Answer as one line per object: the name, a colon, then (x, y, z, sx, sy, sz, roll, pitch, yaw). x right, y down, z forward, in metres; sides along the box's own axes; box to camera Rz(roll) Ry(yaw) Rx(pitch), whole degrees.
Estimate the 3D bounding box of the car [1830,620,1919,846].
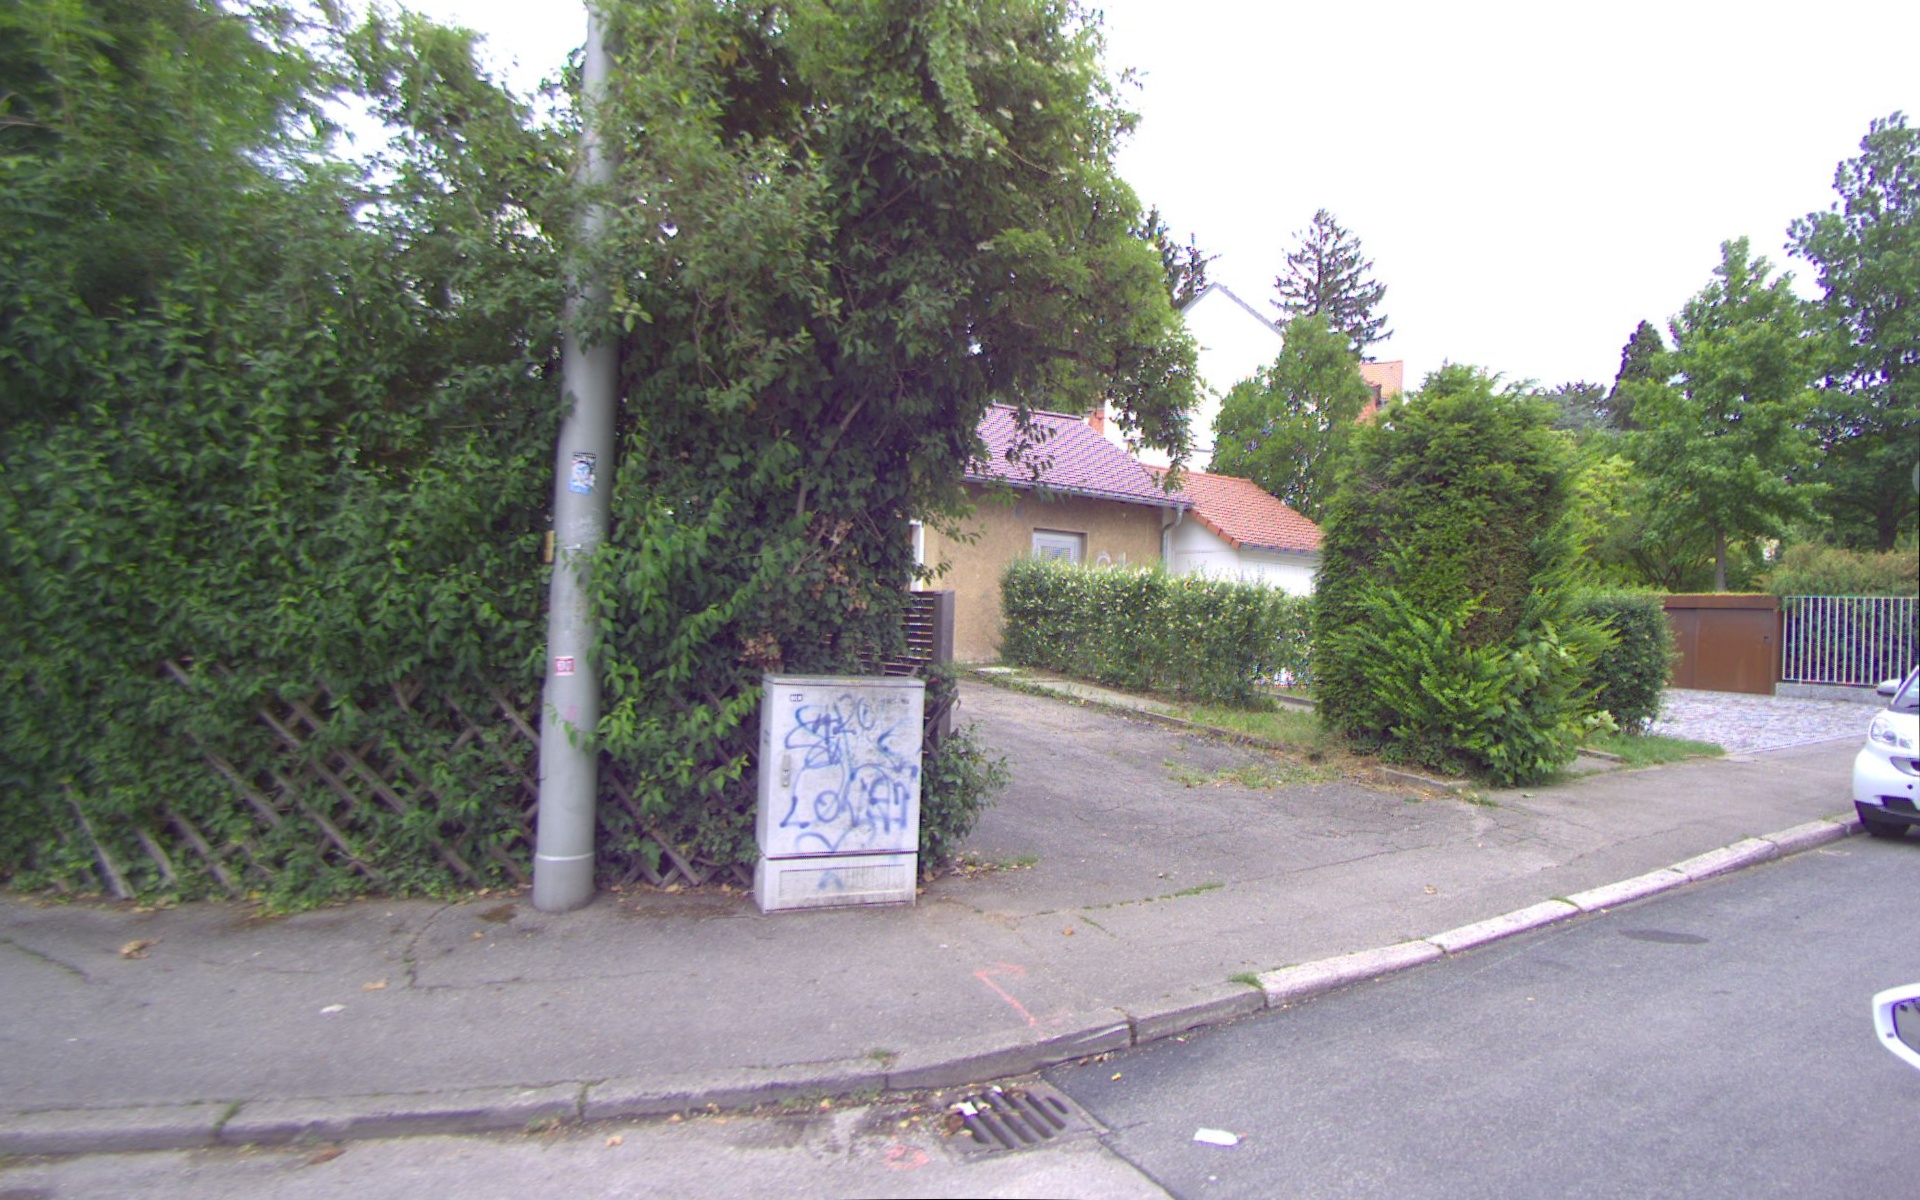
car: (7.990, 0.915, 7.350, 2.732, 1.572, 1.439, 0, -2, -25)
